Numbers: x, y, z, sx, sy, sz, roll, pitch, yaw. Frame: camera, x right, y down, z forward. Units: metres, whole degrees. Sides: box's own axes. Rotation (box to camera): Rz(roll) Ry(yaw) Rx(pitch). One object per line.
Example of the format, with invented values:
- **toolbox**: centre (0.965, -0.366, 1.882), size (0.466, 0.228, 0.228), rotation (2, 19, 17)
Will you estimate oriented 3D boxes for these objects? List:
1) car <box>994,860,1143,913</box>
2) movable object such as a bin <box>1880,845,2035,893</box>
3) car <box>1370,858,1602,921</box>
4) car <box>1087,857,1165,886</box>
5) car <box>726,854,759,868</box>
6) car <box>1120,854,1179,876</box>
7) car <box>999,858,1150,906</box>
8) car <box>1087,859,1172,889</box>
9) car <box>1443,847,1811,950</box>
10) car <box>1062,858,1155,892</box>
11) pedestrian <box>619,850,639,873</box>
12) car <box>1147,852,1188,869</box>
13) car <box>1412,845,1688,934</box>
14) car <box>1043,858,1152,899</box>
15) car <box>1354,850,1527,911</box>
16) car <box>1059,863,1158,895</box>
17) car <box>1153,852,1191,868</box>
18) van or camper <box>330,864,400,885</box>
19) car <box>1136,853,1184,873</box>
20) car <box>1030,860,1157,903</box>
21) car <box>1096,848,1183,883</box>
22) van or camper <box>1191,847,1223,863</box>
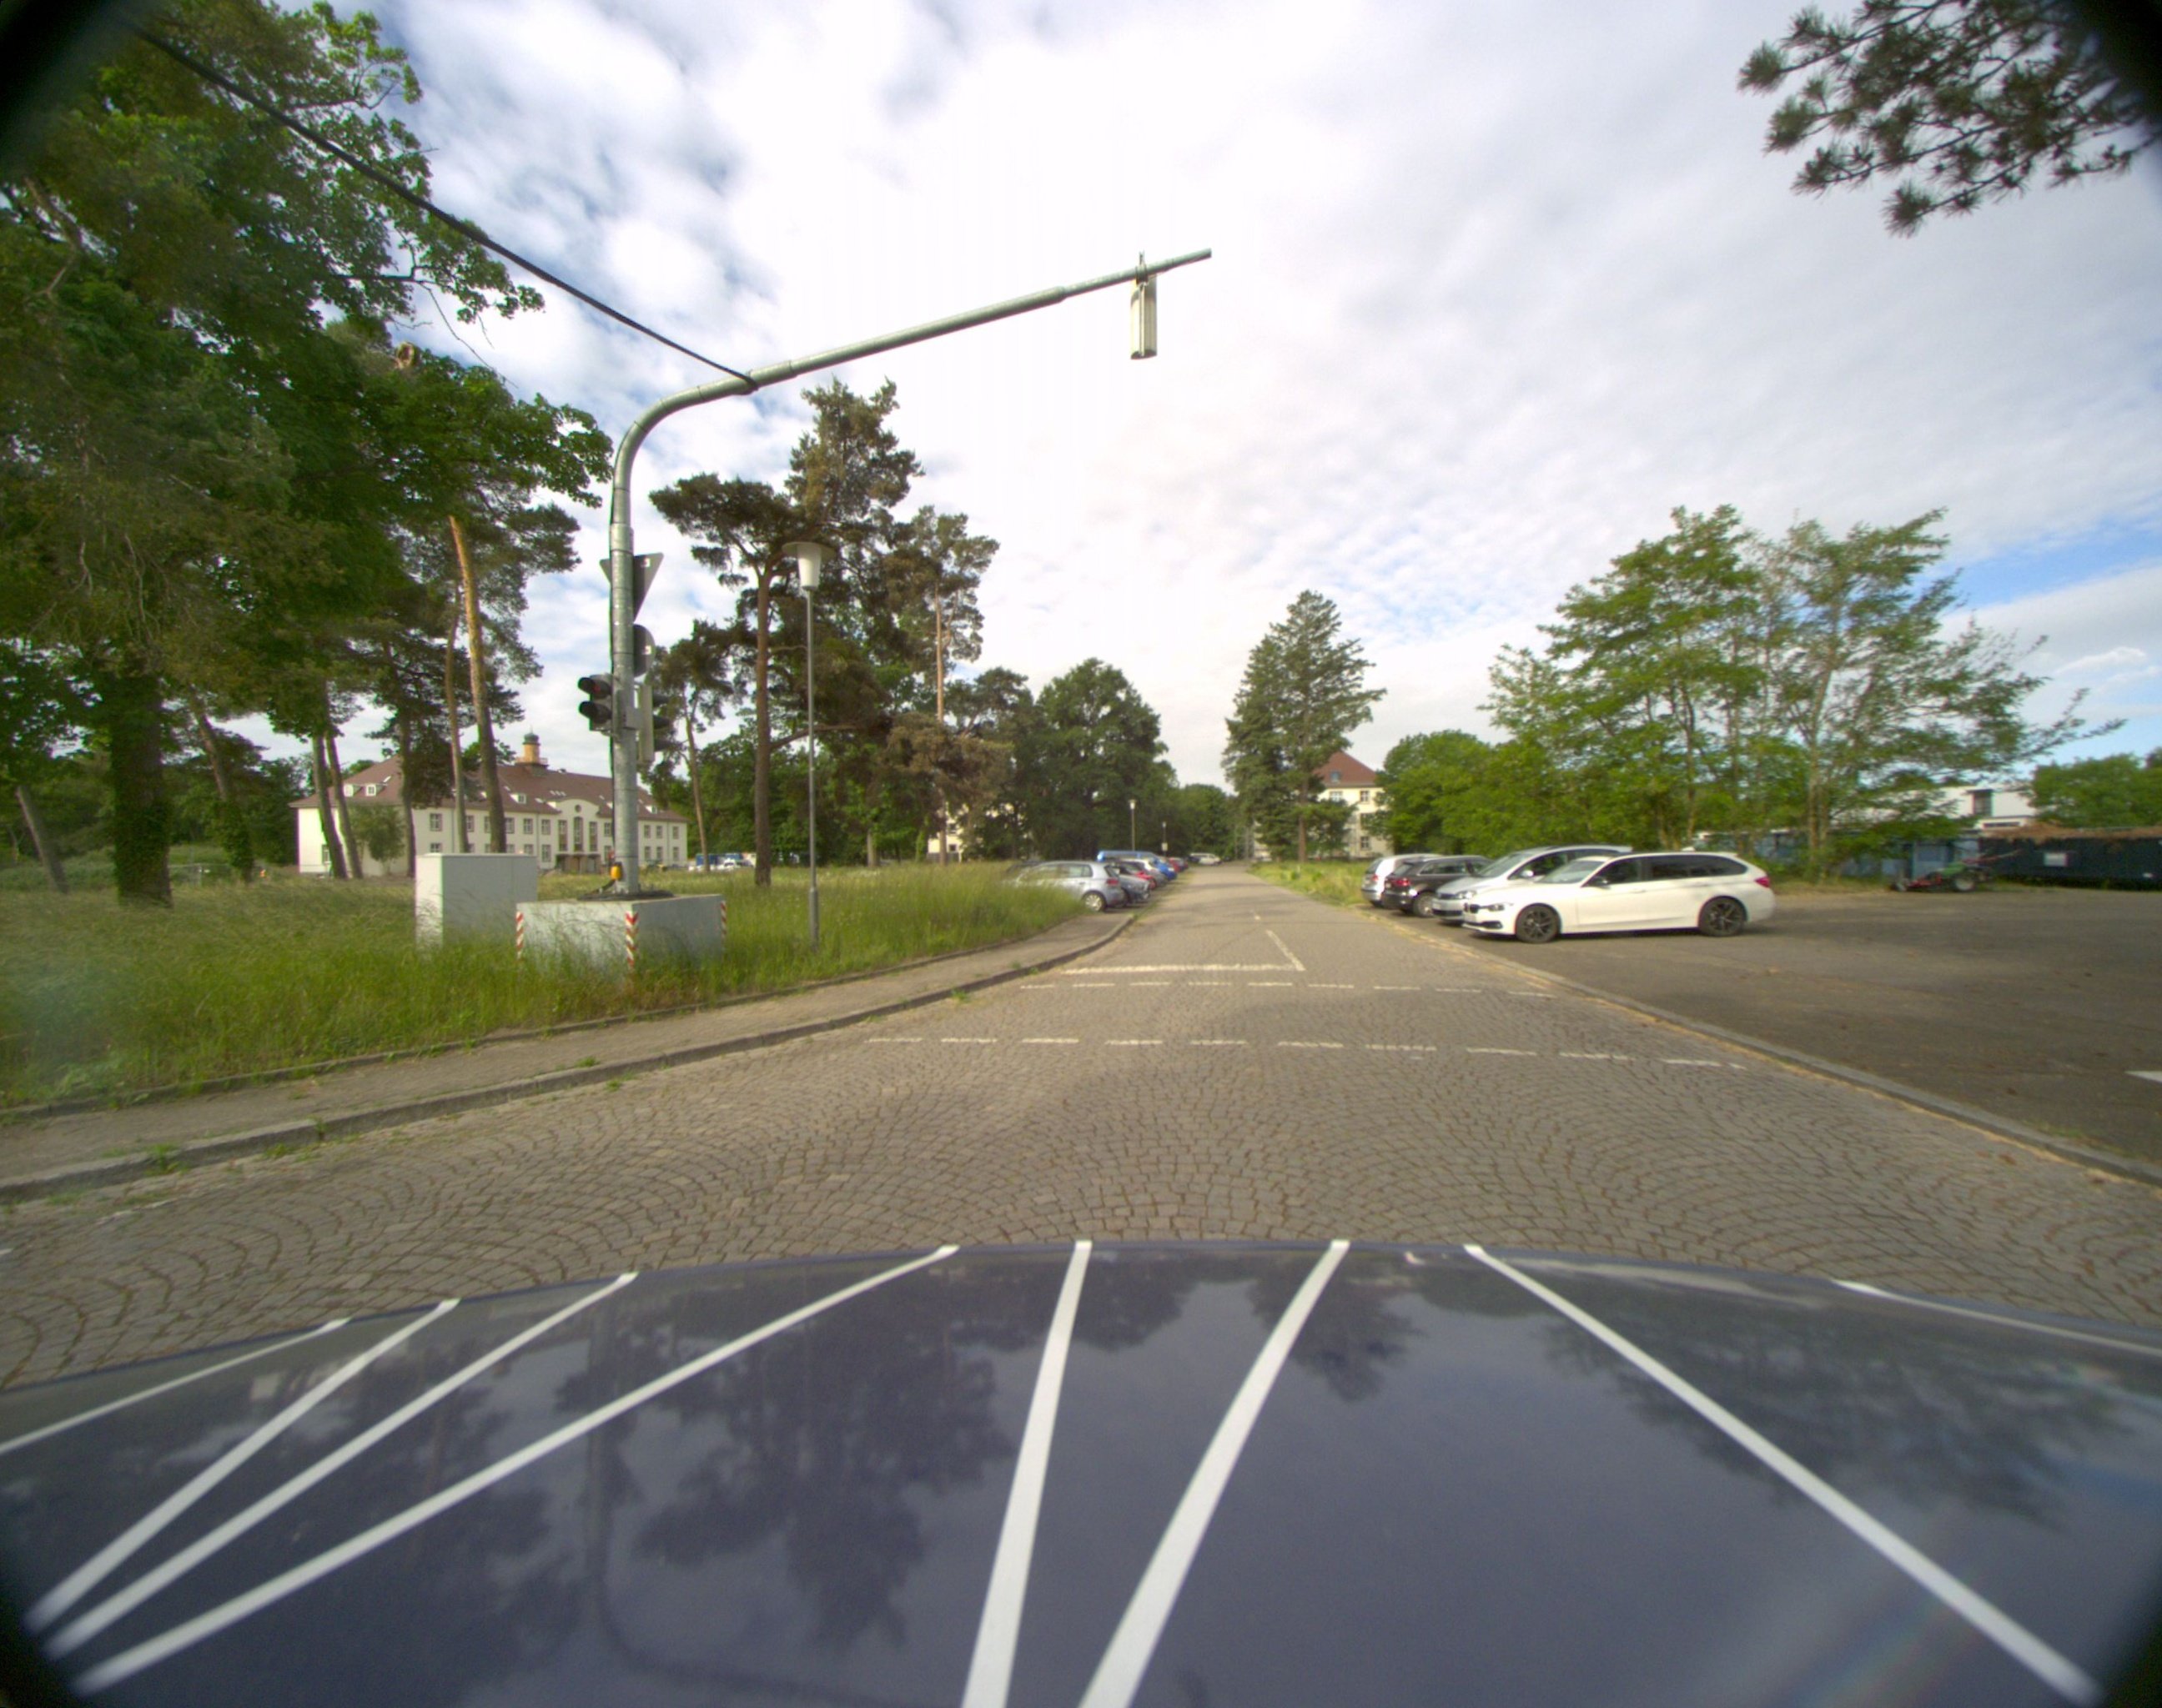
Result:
- **car**: centre (-0.303, 0.912, 21.912), size (3.993, 1.410, 1.798), rotation (-1, 0, 11)
- **movable object such as a bin**: centre (23.064, 0.382, 20.062), size (2.535, 1.205, 1.171), rotation (-1, 1, 9)
- **car**: centre (9.673, 0.837, 18.497), size (4.629, 1.414, 1.886), rotation (-1, 0, 7)
- **car**: centre (2.410, 0.911, 40.226), size (3.929, 1.441, 1.798), rotation (-1, 0, 10)
- **car**: centre (-49.852, 0.965, 111.873), size (2.164, 2.002, 4.837), rotation (-1, 0, 8)
- **car**: centre (4.883, 0.748, 54.170), size (3.993, 1.495, 1.871), rotation (-1, 0, 12)
- **car**: centre (-0.162, 0.890, 24.529), size (4.626, 1.437, 1.798), rotation (-1, 0, 10)
- **car**: centre (2.384, 0.966, 37.117), size (3.929, 1.427, 1.798), rotation (-1, 0, 10)
- **car**: centre (9.183, 0.733, 13.196), size (4.815, 1.431, 1.914), rotation (-3, 0, 7)
- **car**: centre (1.284, 0.925, 34.367), size (3.929, 1.467, 1.798), rotation (-1, 0, 11)
- **pedestrian**: centre (-42.920, 0.722, 72.128), size (1.183, 2.165, 1.056), rotation (-1, 1, 10)
- **car**: centre (8.523, 0.613, 74.468), size (3.788, 1.560, 2.002), rotation (-1, 0, 11)
- **car**: centre (9.539, 0.701, 15.782), size (4.482, 1.580, 1.848), rotation (-2, 0, 6)
- **car**: centre (0.664, 0.927, 29.507), size (3.929, 1.504, 1.798), rotation (-1, 0, 12)
- **car**: centre (9.904, 0.720, 21.167), size (3.982, 1.447, 1.681), rotation (-3, 0, 5)
- **car**: centre (1.198, 1.041, 31.975), size (3.929, 1.227, 1.798), rotation (-1, 0, 11)
- **car**: centre (9.482, 0.573, 78.853), size (3.788, 1.615, 2.002), rotation (-1, 0, 11)
- **van or camper**: centre (-81.365, 2.290, 86.355), size (6.119, 2.293, 2.466), rotation (-1, 0, 7)
- **car**: centre (6.715, 0.749, 64.310), size (3.995, 1.560, 2.001), rotation (-1, 0, 7)
- **car**: centre (0.485, 0.956, 27.182), size (4.263, 1.437, 1.798), rotation (-1, 0, 12)
- **car**: centre (3.512, 0.682, 45.333), size (4.835, 2.002, 2.002), rotation (-1, 0, 14)
- **van or camper**: centre (21.008, 0.170, 126.660), size (5.244, 2.449, 2.210), rotation (-1, 1, 8)
